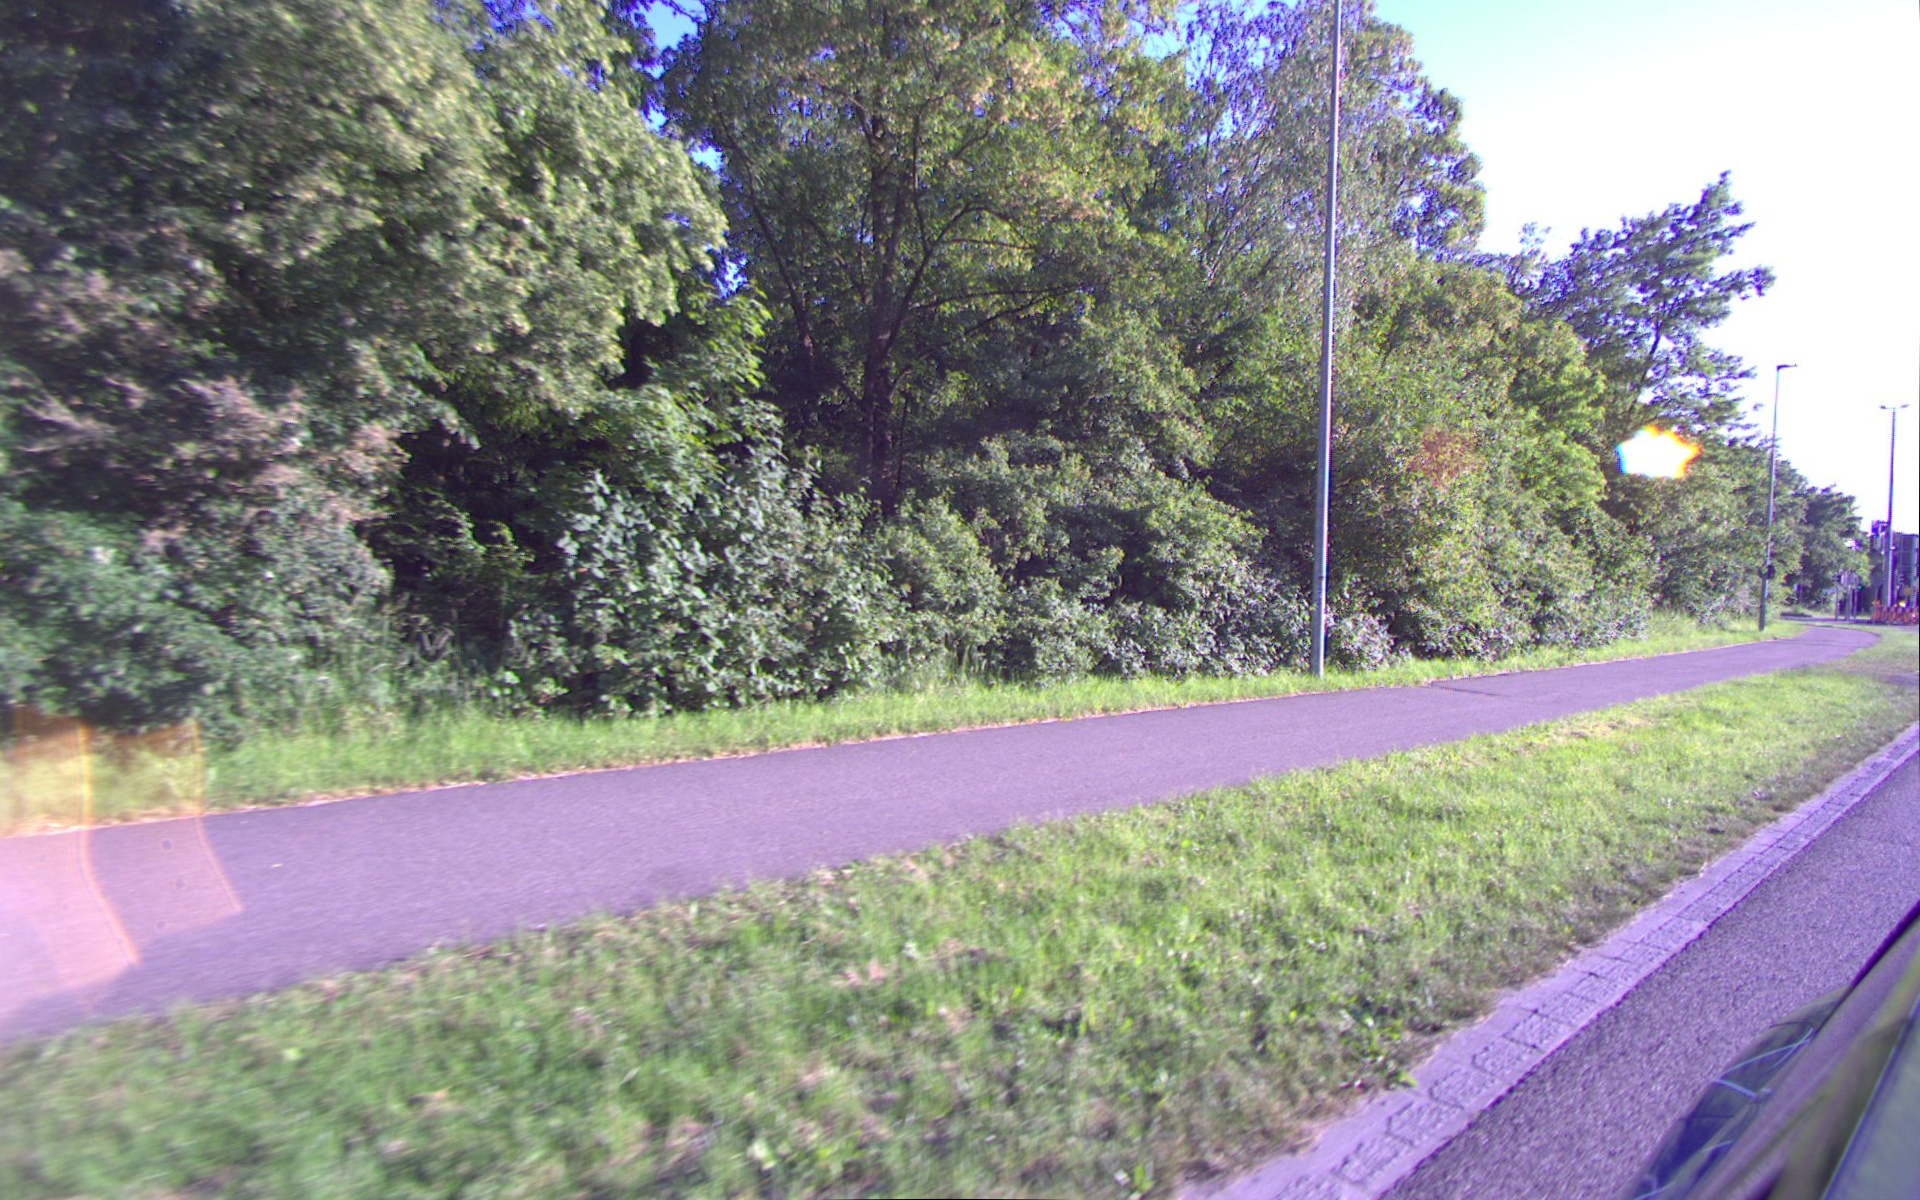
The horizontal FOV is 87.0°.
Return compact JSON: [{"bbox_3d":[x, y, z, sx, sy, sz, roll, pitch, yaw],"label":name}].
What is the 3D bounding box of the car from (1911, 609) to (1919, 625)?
[{"bbox_3d":[96.381,1.696,101.110,1.993,1.538,3.938,2,2,43],"label":"car"}]
